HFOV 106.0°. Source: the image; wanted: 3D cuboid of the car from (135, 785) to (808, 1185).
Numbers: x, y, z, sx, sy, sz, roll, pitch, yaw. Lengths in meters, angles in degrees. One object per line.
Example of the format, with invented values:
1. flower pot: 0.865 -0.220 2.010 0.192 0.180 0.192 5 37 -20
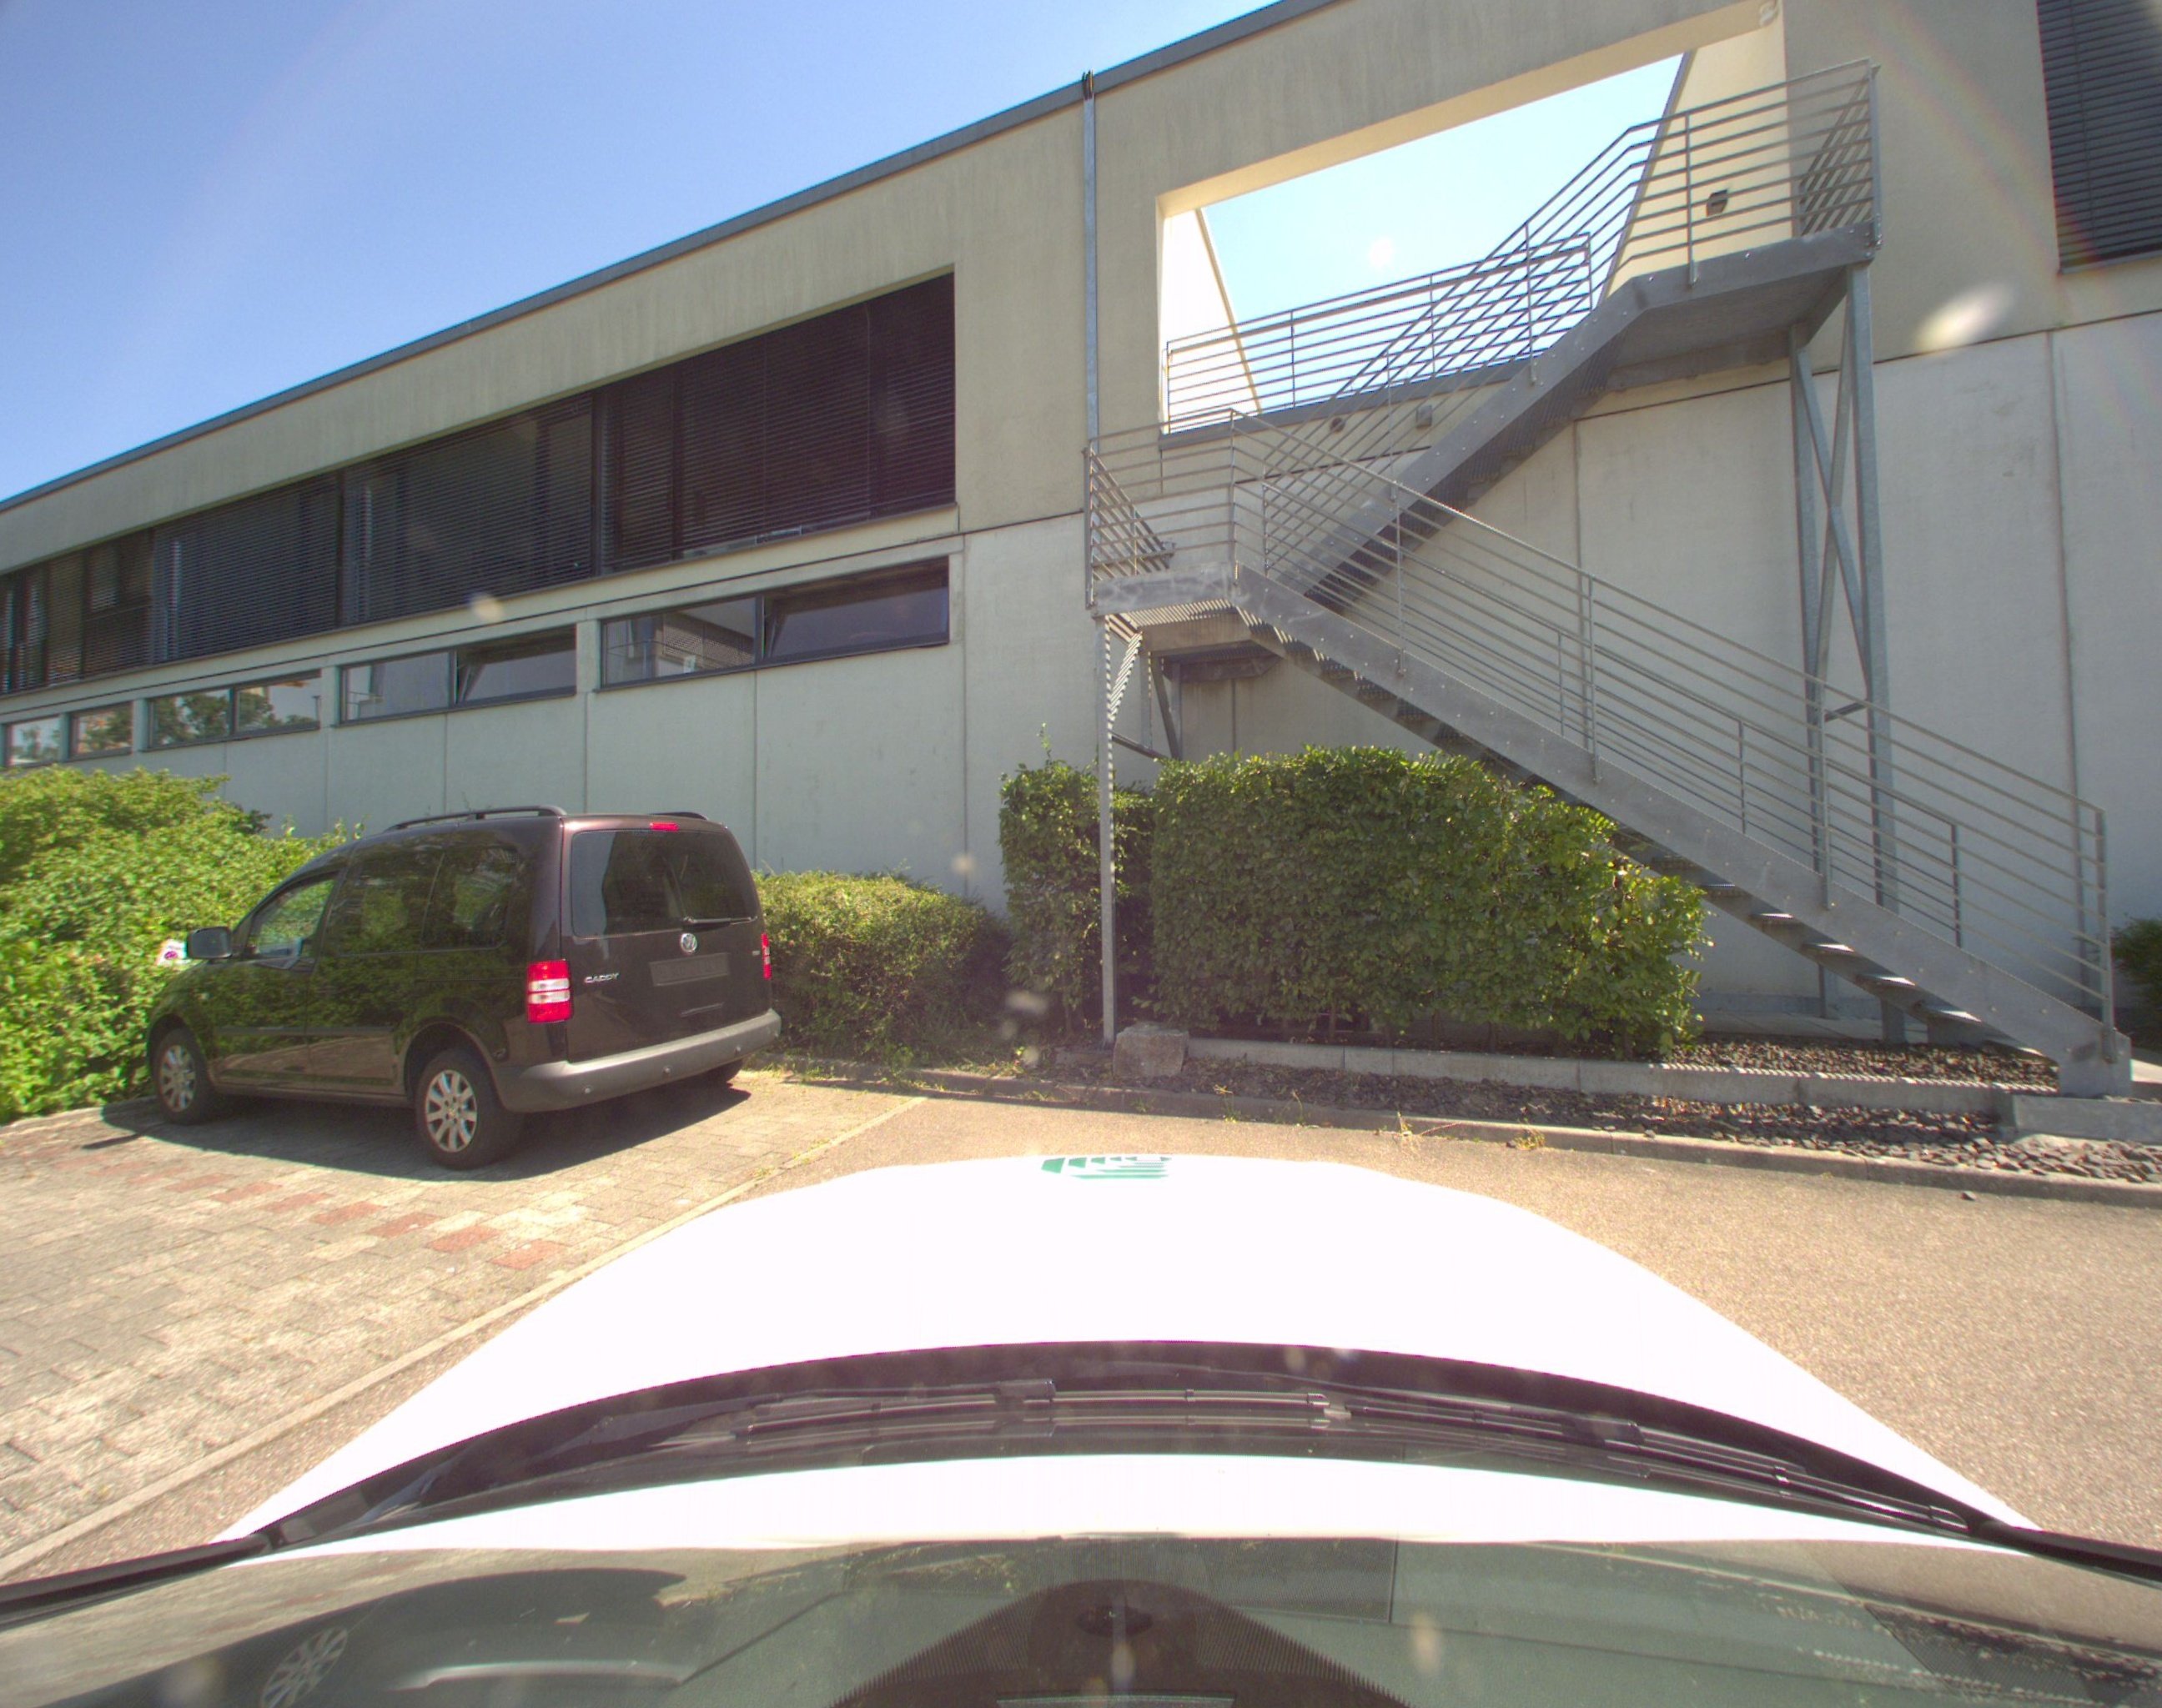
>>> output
1. car: -4.010 0.657 5.371 4.023 1.884 1.688 -1 -1 22
